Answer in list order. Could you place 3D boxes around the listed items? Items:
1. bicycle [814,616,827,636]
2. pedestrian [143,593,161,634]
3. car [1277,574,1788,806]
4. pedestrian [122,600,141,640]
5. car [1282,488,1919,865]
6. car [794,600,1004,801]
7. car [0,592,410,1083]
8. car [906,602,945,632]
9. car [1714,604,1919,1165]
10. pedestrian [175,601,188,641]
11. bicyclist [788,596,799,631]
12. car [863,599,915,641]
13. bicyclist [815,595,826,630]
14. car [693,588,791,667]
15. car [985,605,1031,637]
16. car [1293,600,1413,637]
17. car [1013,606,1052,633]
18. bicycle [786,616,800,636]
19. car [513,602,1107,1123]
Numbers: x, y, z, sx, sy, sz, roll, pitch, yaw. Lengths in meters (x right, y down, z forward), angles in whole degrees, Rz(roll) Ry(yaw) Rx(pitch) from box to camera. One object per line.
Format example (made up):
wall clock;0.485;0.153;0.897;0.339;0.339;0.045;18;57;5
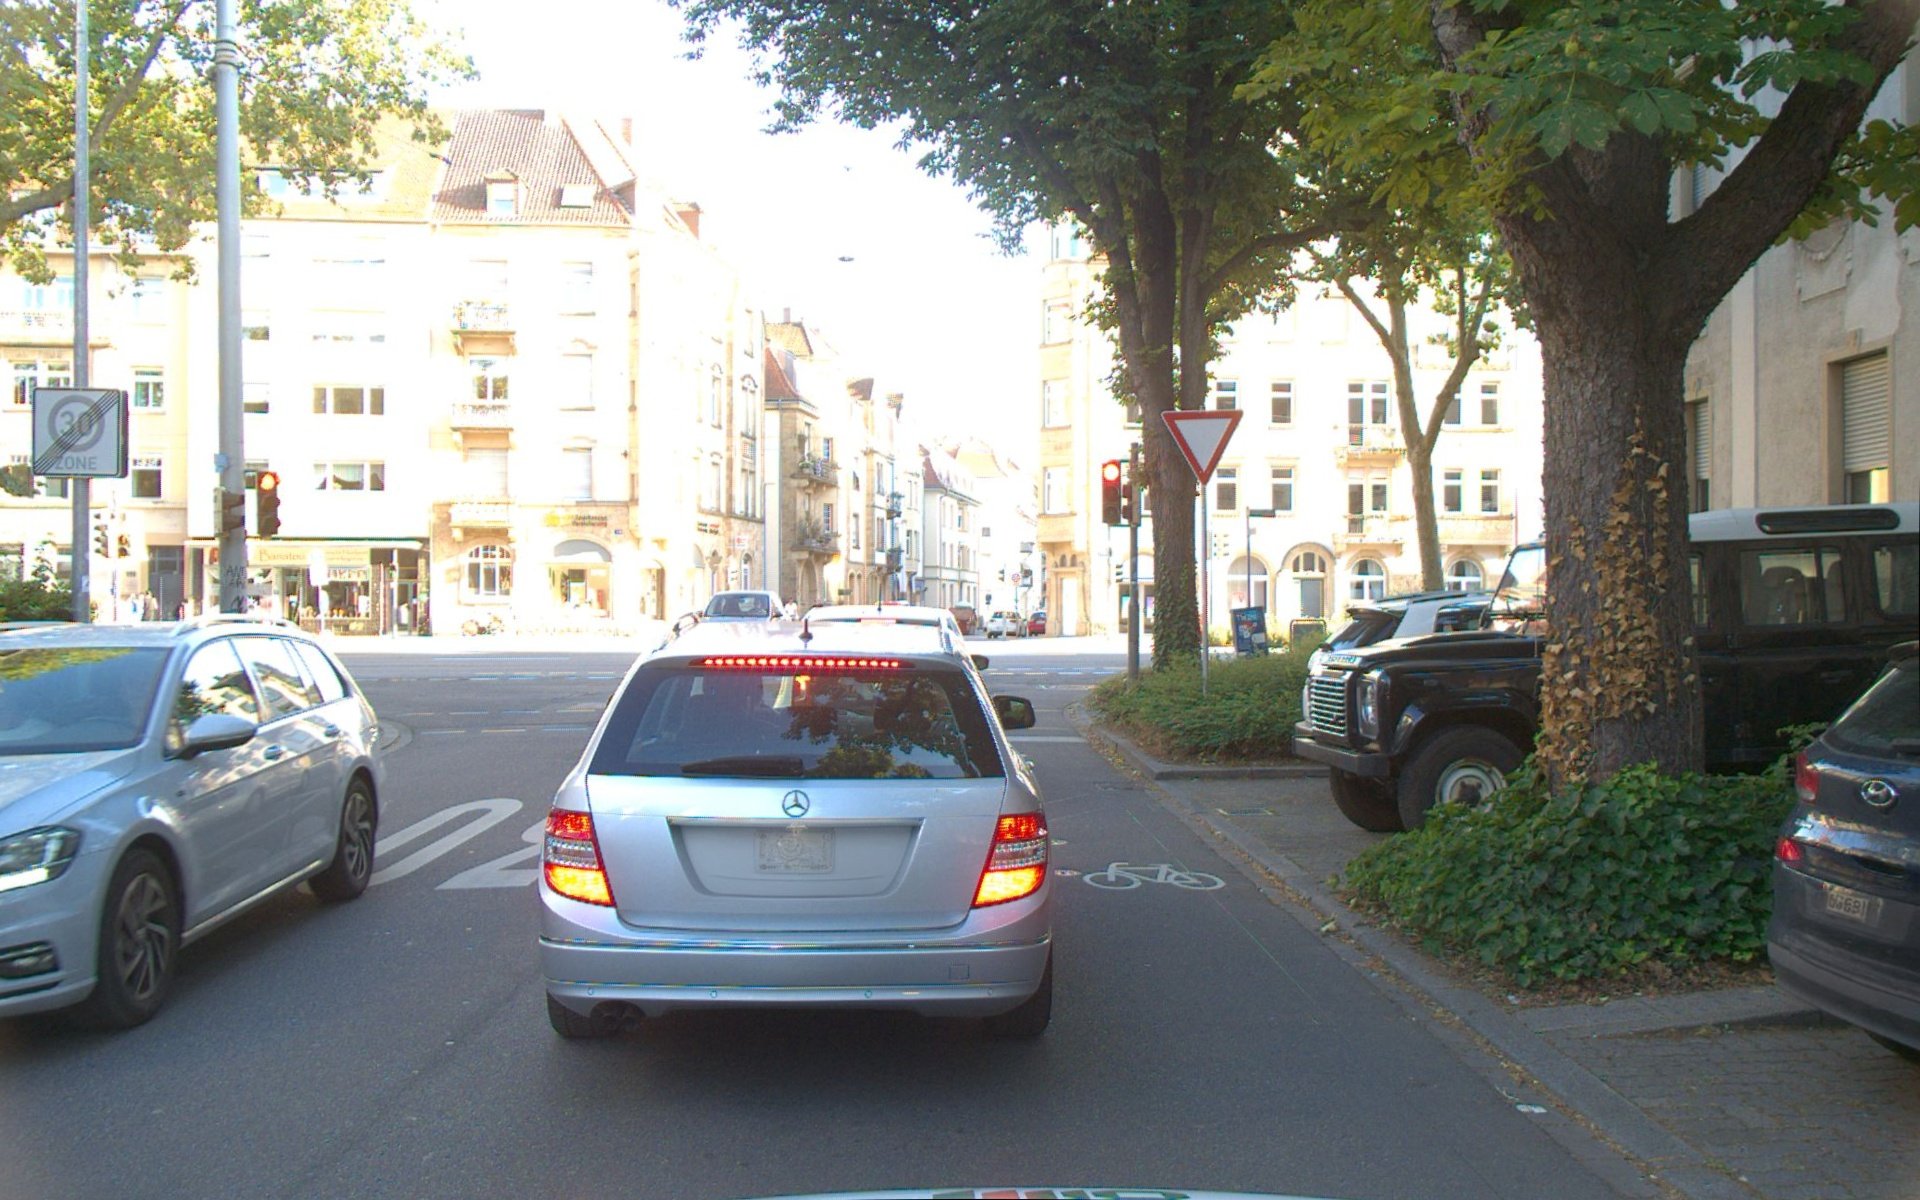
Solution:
bicycle;-6.181;1.137;73.193;0.557;0.849;1.564;0;0;-4
pedestrian;-30.518;0.508;62.470;0.557;1.537;0.499;0;0;-20
car;4.444;0.653;13.124;3.415;1.614;1.708;-1;0;-7
pedestrian;-31.623;0.761;63.135;0.532;1.537;0.502;0;0;-43
car;4.418;0.397;10.245;4.402;1.990;1.791;-2;0;-4
car;-0.512;0.724;13.705;1.502;1.415;3.597;0;0;-2
car;-3.828;0.739;7.136;1.746;1.487;4.295;-2;1;-5
car;-2.118;1.096;102.386;1.615;1.814;3.866;0;-1;10
car;4.296;0.685;4.559;3.675;1.446;1.627;-2;-1;-4
pedestrian;-30.012;0.793;63.761;0.423;1.537;0.471;0;0;-24
bicyclist;-7.384;0.573;73.198;0.457;1.541;0.655;0;0;-4
car;-3.441;0.942;80.996;1.896;1.993;4.153;0;0;7
bicyclist;-6.189;0.568;73.233;0.457;1.547;0.693;0;0;-4
car;-4.476;0.528;34.324;1.582;1.527;3.592;0;1;-1
car;2.520;1.055;85.924;1.684;1.504;4.004;-2;0;11
car;11.807;0.557;49.784;3.296;1.087;1.380;0;0;-2
car;4.482;1.185;102.127;1.684;1.503;4.004;-4;0;11
bicycle;-7.370;1.137;73.045;0.557;0.849;1.564;0;0;-4
car;-0.515;0.755;6.450;1.657;1.454;3.490;1;0;-3
